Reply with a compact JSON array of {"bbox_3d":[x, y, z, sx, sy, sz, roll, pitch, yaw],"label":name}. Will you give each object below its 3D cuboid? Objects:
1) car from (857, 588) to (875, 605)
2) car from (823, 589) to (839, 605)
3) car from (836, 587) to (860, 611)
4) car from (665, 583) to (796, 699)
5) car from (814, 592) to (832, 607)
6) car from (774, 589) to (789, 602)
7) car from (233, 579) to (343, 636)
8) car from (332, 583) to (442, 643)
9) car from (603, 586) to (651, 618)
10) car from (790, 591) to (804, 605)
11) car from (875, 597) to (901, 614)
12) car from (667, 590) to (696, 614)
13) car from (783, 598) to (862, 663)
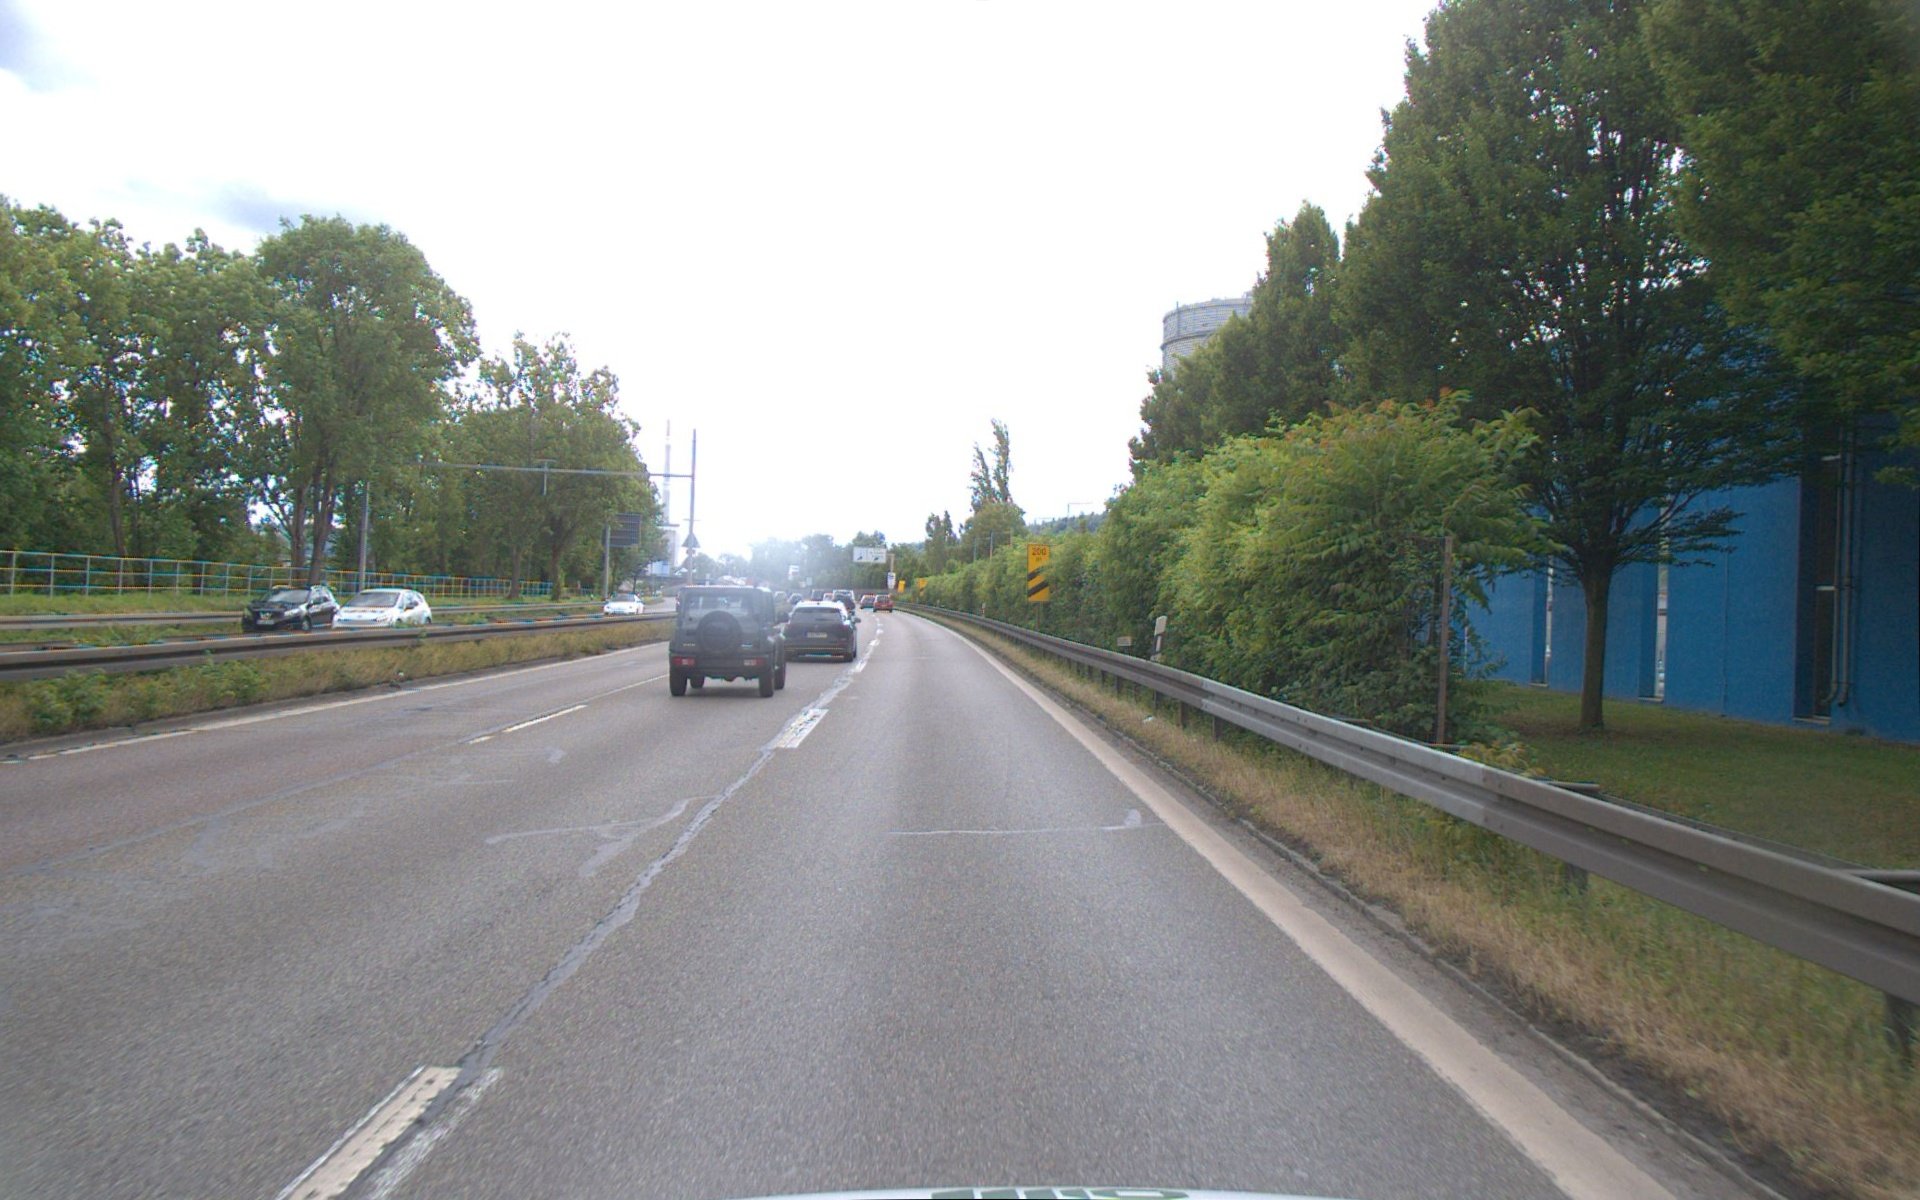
[{"bbox_3d":[-9.889,-0.361,173.734,1.665,1.772,4.386,1,0,-7],"label":"car"},{"bbox_3d":[-16.059,-0.334,205.554,1.974,1.968,4.895,1,0,-5],"label":"car"},{"bbox_3d":[-8.597,-0.051,126.679,1.663,1.772,3.998,1,0,-2],"label":"car"},{"bbox_3d":[-3.638,0.592,26.832,1.663,1.715,3.999,1,1,-2],"label":"car"},{"bbox_3d":[-18.539,-0.101,223.489,1.976,1.968,4.890,1,0,-9],"label":"car"},{"bbox_3d":[-27.360,-0.682,253.089,1.977,1.968,4.889,1,0,-10],"label":"car"},{"bbox_3d":[-19.998,0.208,49.407,1.691,1.633,4.041,0,0,-1],"label":"car"},{"bbox_3d":[-16.472,0.337,47.757,1.663,1.633,4.537,0,0,-1],"label":"car"},{"bbox_3d":[-18.420,0.117,91.702,1.829,1.704,4.717,1,0,-2],"label":"car"},{"bbox_3d":[-20.846,-0.297,211.560,1.665,1.772,4.386,1,0,-7],"label":"car"},{"bbox_3d":[-6.545,0.475,149.891,1.937,1.448,4.893,1,0,-7],"label":"car"},{"bbox_3d":[-21.466,0.128,127.559,1.691,1.806,3.740,1,0,-1],"label":"car"},{"bbox_3d":[-3.513,0.722,41.747,1.809,1.448,4.894,2,0,-6],"label":"car"}]
